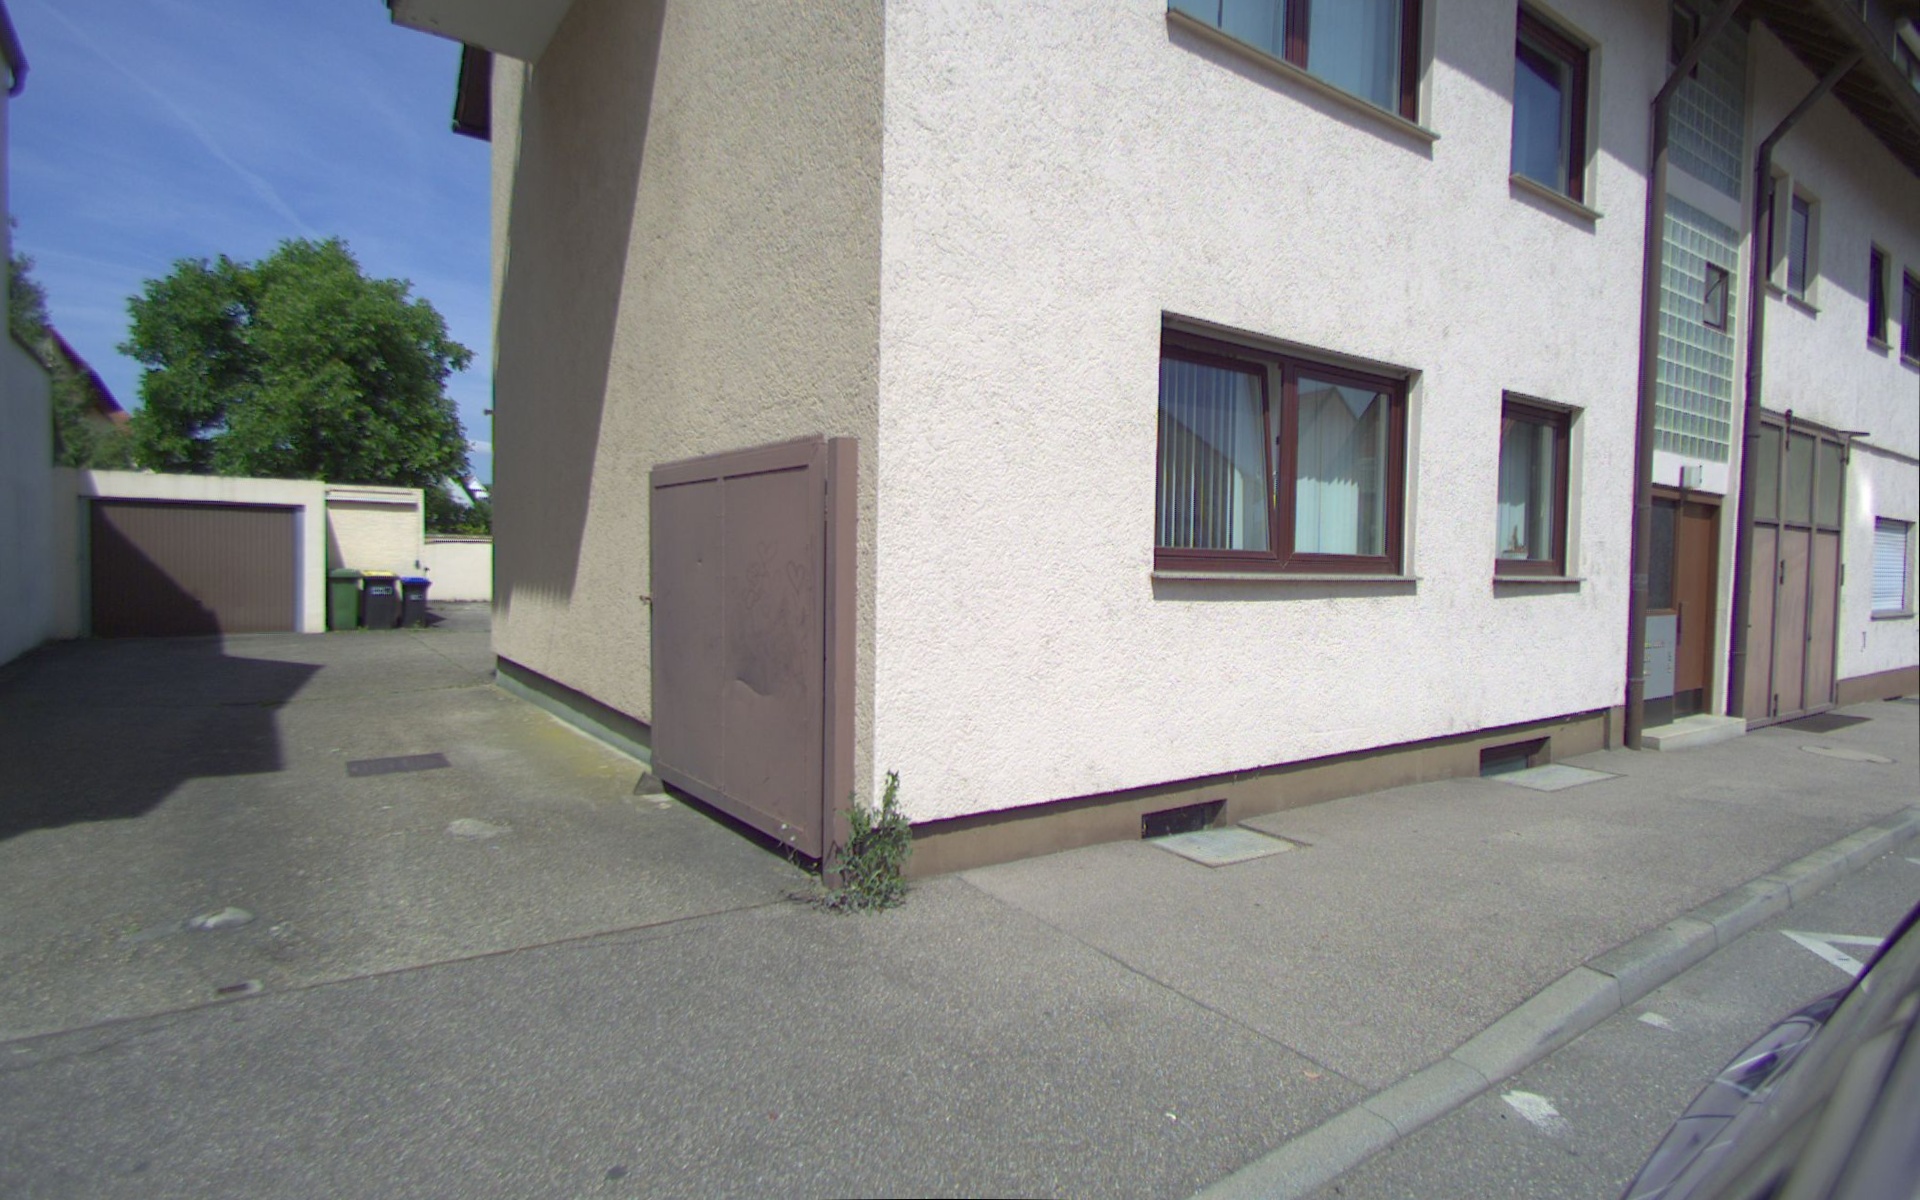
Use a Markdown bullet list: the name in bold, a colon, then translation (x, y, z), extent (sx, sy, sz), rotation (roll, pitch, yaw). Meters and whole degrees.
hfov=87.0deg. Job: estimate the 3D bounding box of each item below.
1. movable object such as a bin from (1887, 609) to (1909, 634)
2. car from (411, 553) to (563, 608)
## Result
- **movable object such as a bin**: translation (40.784, 0.922, 44.007), extent (0.575, 1.062, 0.892), rotation (1, 0, 34)
- **car**: translation (-12.323, -0.501, 26.452), extent (3.226, 1.358, 1.755), rotation (0, 2, -43)
